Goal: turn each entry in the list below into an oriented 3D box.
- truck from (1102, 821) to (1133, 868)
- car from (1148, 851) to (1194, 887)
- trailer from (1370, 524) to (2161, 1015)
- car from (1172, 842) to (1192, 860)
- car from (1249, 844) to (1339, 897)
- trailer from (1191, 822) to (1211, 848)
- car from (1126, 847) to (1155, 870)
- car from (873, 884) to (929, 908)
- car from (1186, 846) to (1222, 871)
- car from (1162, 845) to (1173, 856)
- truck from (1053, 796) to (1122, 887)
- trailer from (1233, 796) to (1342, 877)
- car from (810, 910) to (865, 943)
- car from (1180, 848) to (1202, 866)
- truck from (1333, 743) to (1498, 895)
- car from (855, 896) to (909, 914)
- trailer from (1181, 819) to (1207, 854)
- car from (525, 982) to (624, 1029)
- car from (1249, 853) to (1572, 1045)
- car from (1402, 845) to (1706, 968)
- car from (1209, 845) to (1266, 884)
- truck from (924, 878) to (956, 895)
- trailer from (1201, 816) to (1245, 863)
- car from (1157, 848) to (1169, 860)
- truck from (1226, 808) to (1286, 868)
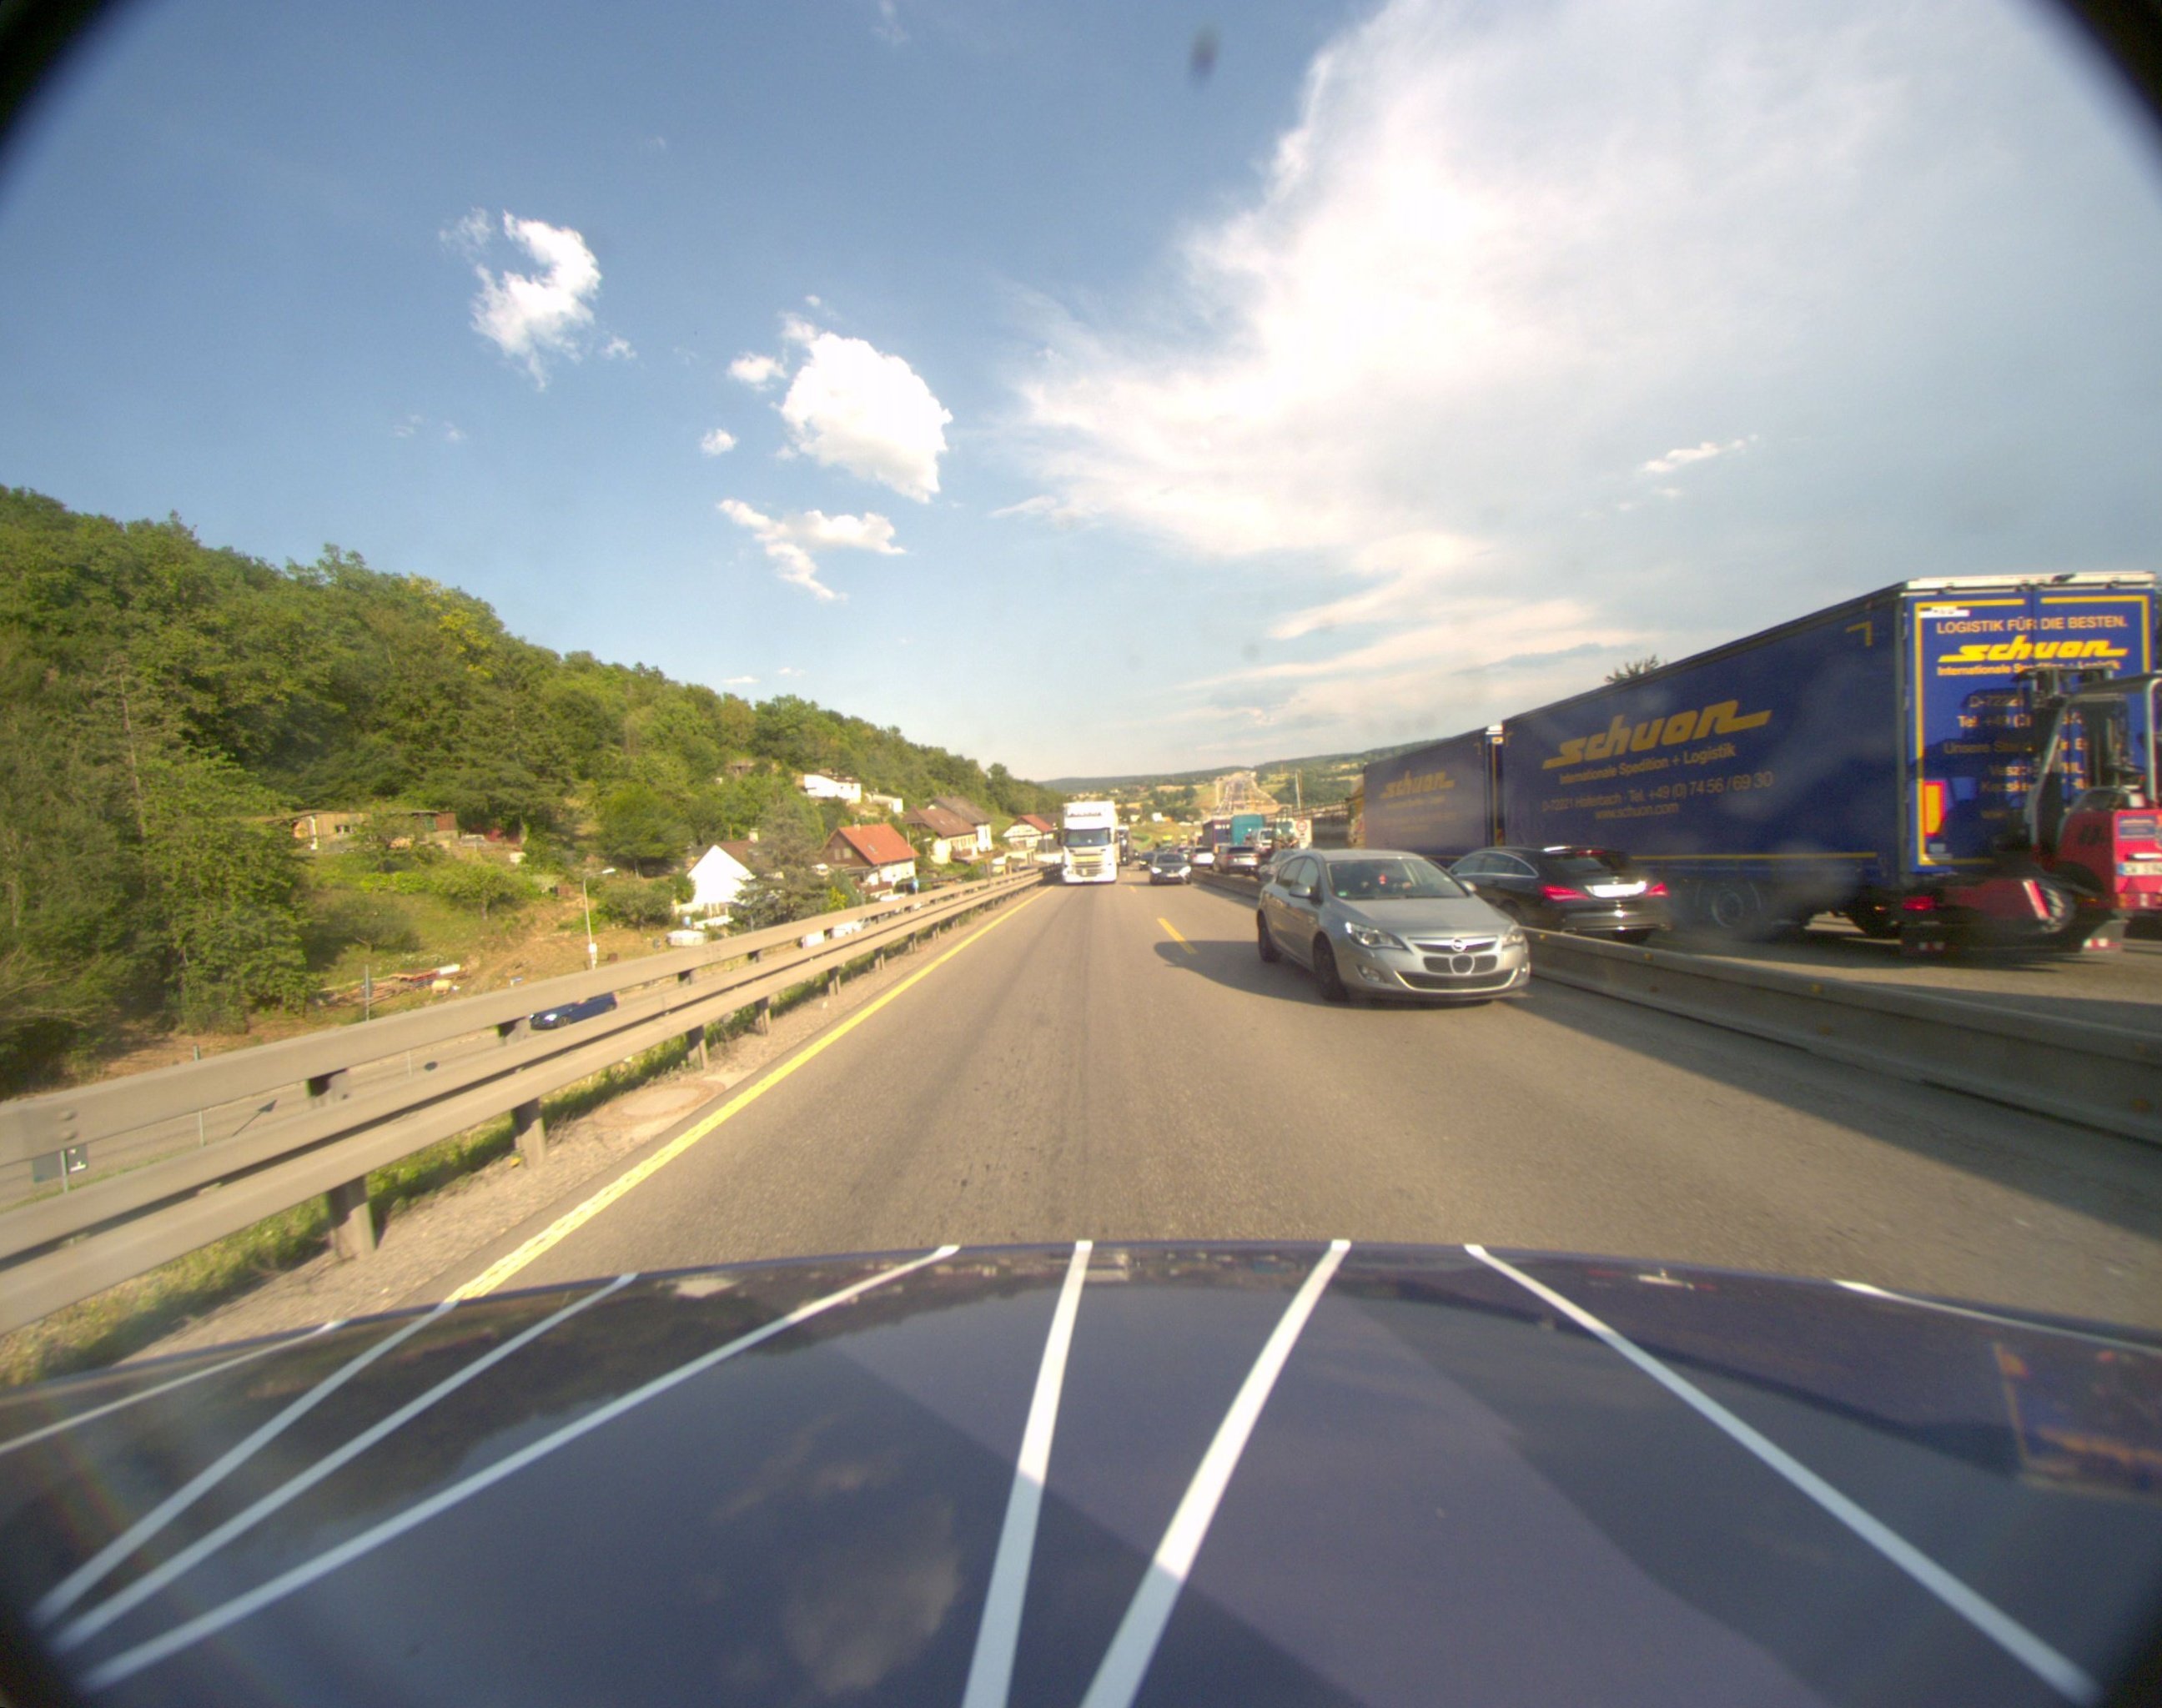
[{"bbox_3d":[3.870,-0.961,79.700,2.788,4.505,7.191,-3,0,3],"label":"truck"},{"bbox_3d":[3.943,0.621,33.890,1.822,1.433,4.001,-3,0,5],"label":"car"},{"bbox_3d":[9.931,-0.915,14.747,2.721,4.111,16.749,-1,1,2],"label":"trailer"},{"bbox_3d":[11.411,-0.376,86.341,1.827,1.922,5.130,1,2,4],"label":"car"},{"bbox_3d":[6.885,0.465,25.071,1.792,1.489,4.724,-1,1,2],"label":"car"},{"bbox_3d":[20.605,-3.321,131.275,2.781,4.179,13.836,-1,1,7],"label":"trailer"},{"bbox_3d":[4.560,0.316,58.894,1.998,1.565,3.999,-1,1,1],"label":"car"},{"bbox_3d":[-19.402,4.535,82.032,5.475,2.251,2.001,-3,3,12],"label":"car"},{"bbox_3d":[8.896,0.290,55.271,1.964,1.635,4.848,-1,1,2],"label":"car"},{"bbox_3d":[14.954,-0.636,131.361,1.770,1.542,4.480,-3,2,6],"label":"car"},{"bbox_3d":[0.660,-0.742,41.527,2.892,4.059,13.893,-1,1,4],"label":"truck"},{"bbox_3d":[11.300,-0.935,43.687,2.755,3.794,16.048,0,1,3],"label":"trailer"},{"bbox_3d":[-19.704,5.830,61.820,1.865,1.975,5.054,-1,3,13],"label":"car"},{"bbox_3d":[10.380,0.267,71.941,1.807,1.513,4.817,0,1,4],"label":"car"},{"bbox_3d":[10.183,-1.023,23.828,2.707,4.117,5.793,-1,2,2],"label":"truck"},{"bbox_3d":[-20.564,5.250,78.485,5.098,1.548,1.716,-2,3,12],"label":"car"},{"bbox_3d":[15.382,-2.416,103.853,2.917,4.440,7.154,-2,1,5],"label":"trailer"},{"bbox_3d":[-24.992,7.472,37.610,1.770,1.588,3.622,-5,-1,22],"label":"car"},{"bbox_3d":[3.152,0.784,8.287,1.810,1.478,4.118,-2,1,2],"label":"car"},{"bbox_3d":[6.750,0.621,11.580,1.801,1.445,4.615,-1,1,1],"label":"car"},{"bbox_3d":[7.601,0.453,37.329,1.931,1.692,4.691,-1,1,2],"label":"car"},{"bbox_3d":[-17.092,3.889,92.018,2.002,1.729,3.990,-11,5,-37],"label":"truck"},{"bbox_3d":[13.548,-1.403,73.267,2.721,4.099,12.494,0,1,4],"label":"trailer"},{"bbox_3d":[13.331,-0.057,123.210,1.866,1.577,4.746,-5,2,6],"label":"car"},{"bbox_3d":[11.762,-1.059,51.684,2.755,3.784,7.112,0,1,3],"label":"truck"}]
